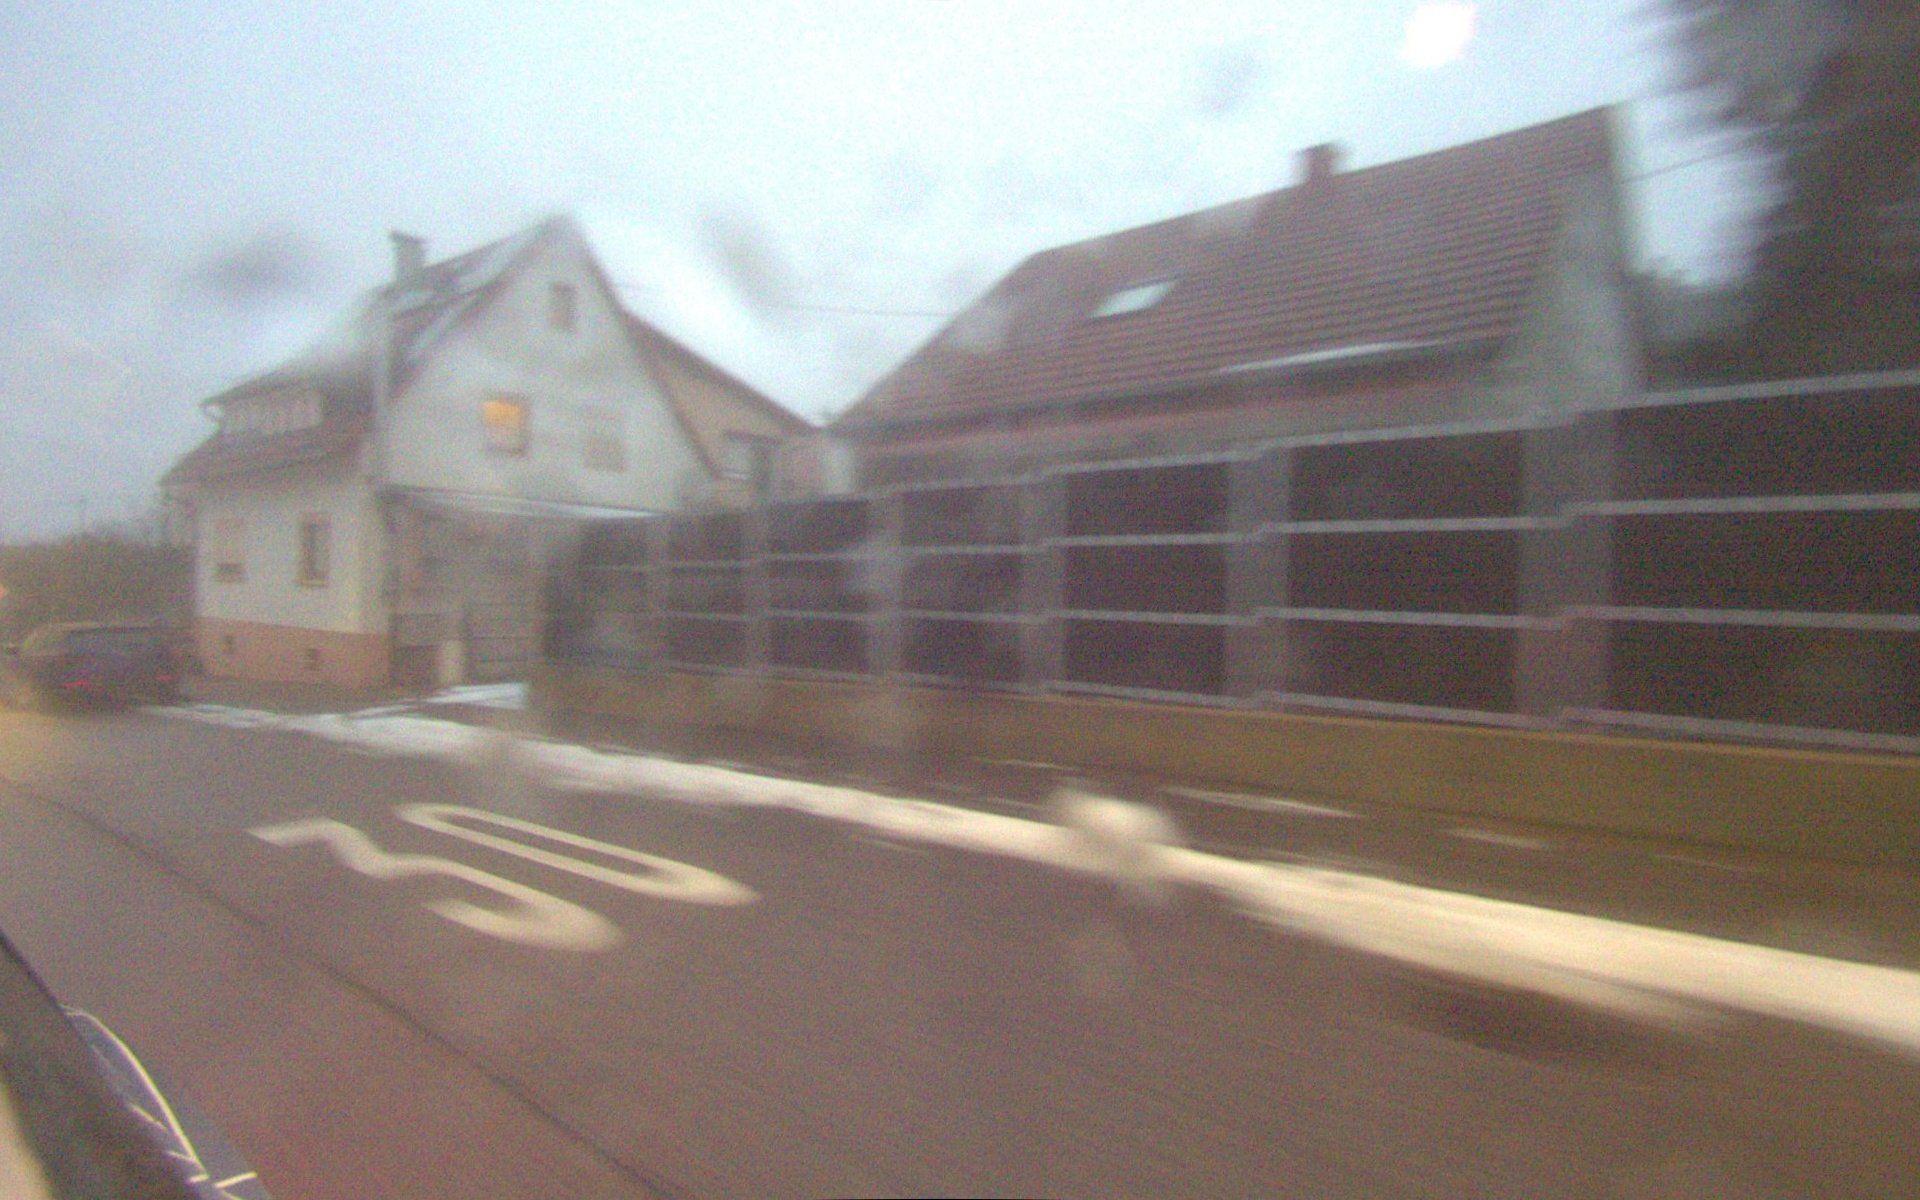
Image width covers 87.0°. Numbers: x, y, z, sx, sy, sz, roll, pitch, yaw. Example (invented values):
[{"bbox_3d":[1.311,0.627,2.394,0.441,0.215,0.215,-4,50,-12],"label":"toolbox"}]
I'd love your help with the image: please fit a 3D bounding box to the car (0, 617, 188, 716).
[{"bbox_3d":[-15.661,1.110,17.869,5.383,1.437,1.859,-2,0,38],"label":"car"}]
